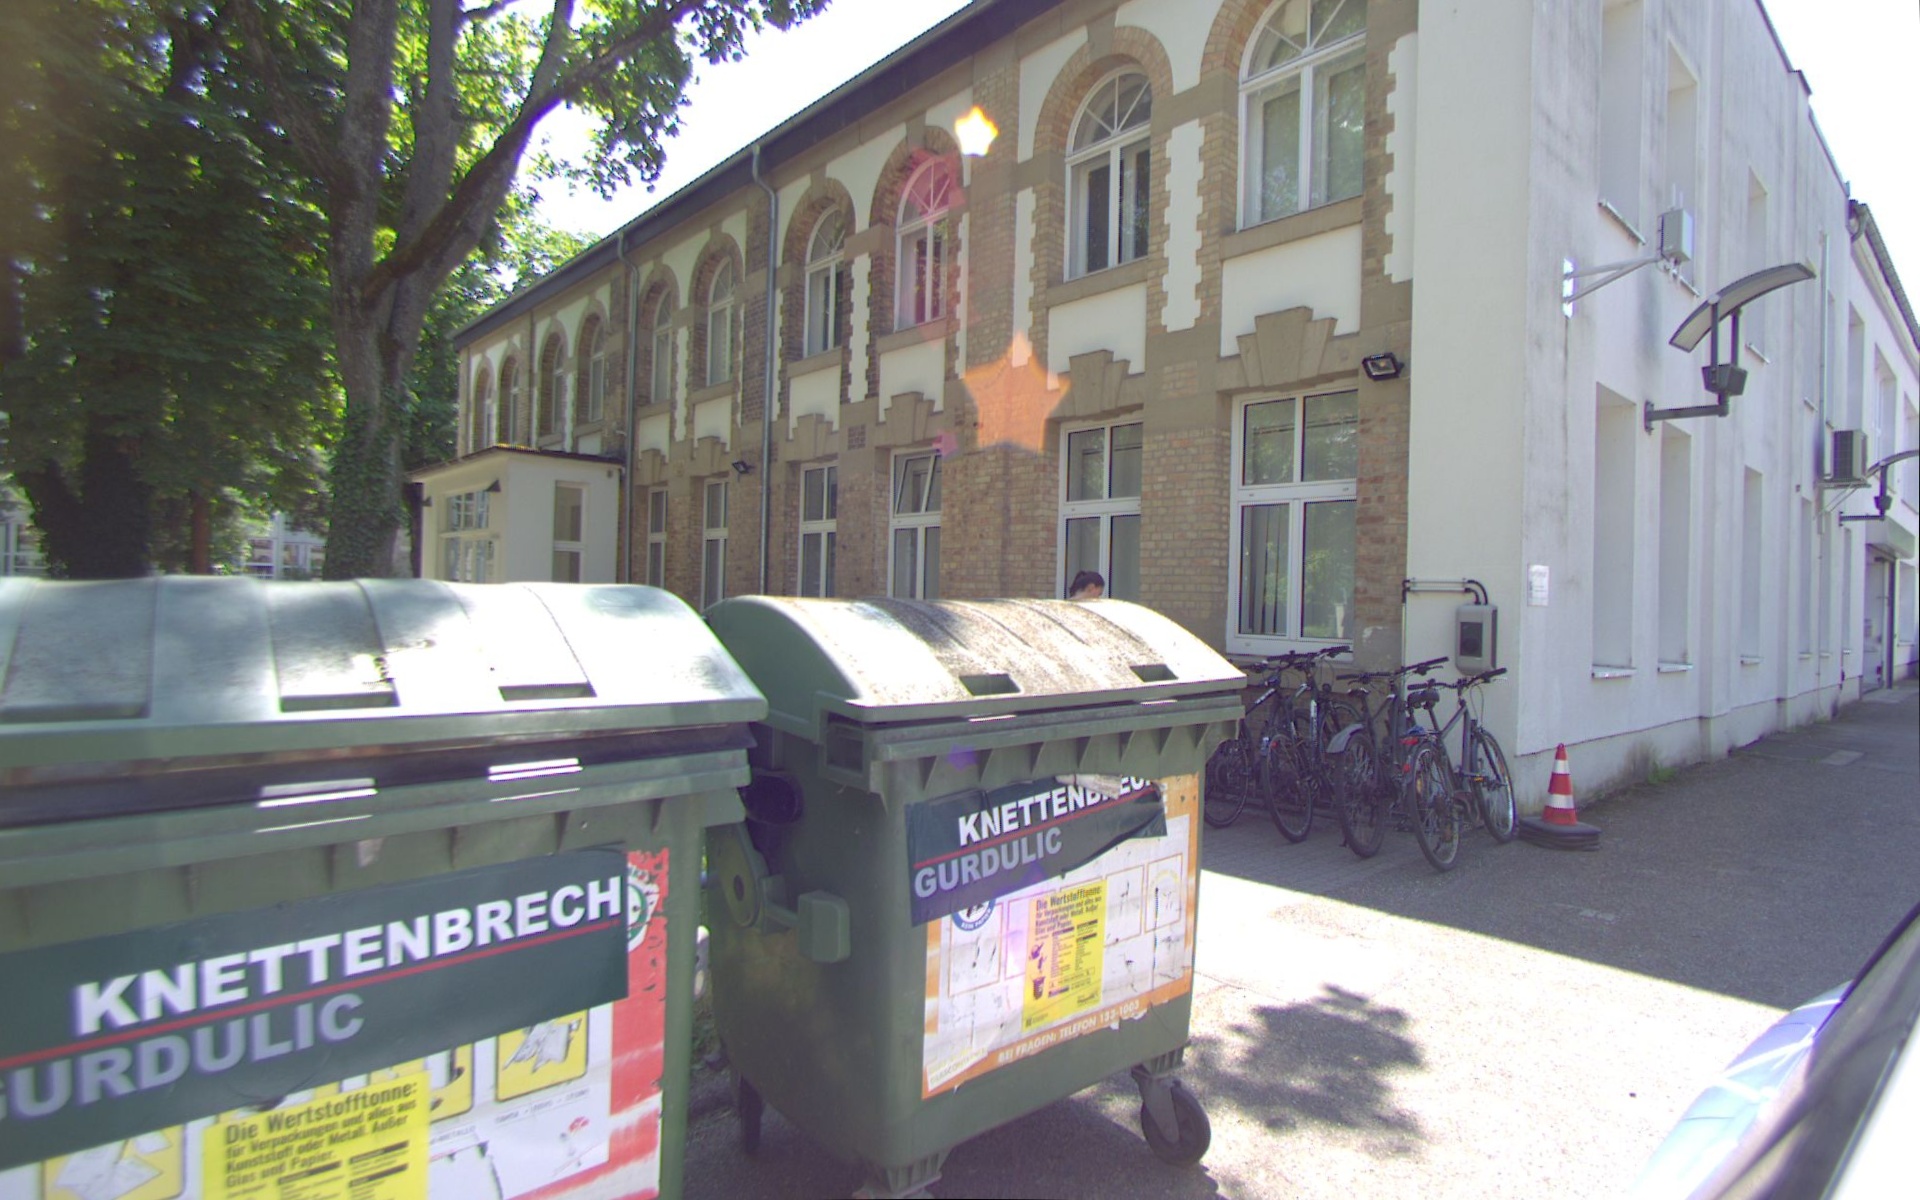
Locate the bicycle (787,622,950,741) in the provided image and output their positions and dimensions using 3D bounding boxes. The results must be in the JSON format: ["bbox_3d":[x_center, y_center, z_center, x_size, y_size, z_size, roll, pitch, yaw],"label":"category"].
[{"bbox_3d":[-0.921,0.807,10.549,1.795,1.115,0.405,0,0,-42],"label":"bicycle"}]

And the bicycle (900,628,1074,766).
[{"bbox_3d":[0.287,0.840,9.267,1.795,1.115,0.405,0,0,-42],"label":"bicycle"}]

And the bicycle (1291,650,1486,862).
[{"bbox_3d":[2.756,0.910,6.413,1.795,1.115,0.405,0,0,-42],"label":"bicycle"}]

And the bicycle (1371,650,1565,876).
[{"bbox_3d":[3.102,0.895,6.092,1.795,1.115,0.405,0,0,-42],"label":"bicycle"}]

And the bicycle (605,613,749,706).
[{"bbox_3d":[-3.644,0.736,13.146,1.795,1.115,0.405,0,0,-42],"label":"bicycle"}]

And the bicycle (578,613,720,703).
[{"bbox_3d":[-4.135,0.747,13.555,1.795,1.115,0.405,0,0,-42],"label":"bicycle"}]

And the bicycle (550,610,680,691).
[{"bbox_3d":[-5.073,0.717,14.967,1.795,1.115,0.405,0,0,-42],"label":"bicycle"}]

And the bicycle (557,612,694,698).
[{"bbox_3d":[-4.639,0.733,14.128,1.795,1.115,0.405,0,0,-42],"label":"bicycle"}]

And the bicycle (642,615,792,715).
[{"bbox_3d":[-2.938,0.755,12.357,1.795,1.115,0.405,0,0,-42],"label":"bicycle"}]

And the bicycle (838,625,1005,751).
[{"bbox_3d":[-0.347,0.821,10.023,1.795,1.115,0.405,0,0,-42],"label":"bicycle"}]

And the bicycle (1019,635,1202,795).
[{"bbox_3d":[1.256,0.867,8.166,1.795,1.115,0.405,0,0,-42],"label":"bicycle"}]

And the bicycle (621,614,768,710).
[{"bbox_3d":[-3.308,0.745,12.746,1.795,1.115,0.405,0,0,-42],"label":"bicycle"}]

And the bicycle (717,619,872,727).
[{"bbox_3d":[-1.839,0.782,11.451,1.795,1.115,0.405,0,0,-42],"label":"bicycle"}]

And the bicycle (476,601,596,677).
[{"bbox_3d":[-7.055,0.622,16.912,1.795,1.115,0.405,-3,3,-42],"label":"bicycle"}]

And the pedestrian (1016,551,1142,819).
[{"bbox_3d":[0.837,0.556,7.108,0.677,1.771,0.552,1,0,-40],"label":"pedestrian"}]

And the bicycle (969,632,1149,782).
[{"bbox_3d":[0.880,0.856,8.599,1.795,1.115,0.405,0,0,-42],"label":"bicycle"}]

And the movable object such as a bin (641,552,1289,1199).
[{"bbox_3d":[0.024,0.644,2.709,1.353,1.476,1.077,1,0,-41],"label":"movable object such as a bin"}]

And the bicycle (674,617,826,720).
[{"bbox_3d":[-2.442,0.768,11.935,1.795,1.115,0.405,0,0,-42],"label":"bicycle"}]

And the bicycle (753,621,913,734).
[{"bbox_3d":[-1.342,0.796,10.941,1.795,1.115,0.405,0,0,-42],"label":"bicycle"}]

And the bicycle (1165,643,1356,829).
[{"bbox_3d":[2.171,0.892,7.171,1.795,1.115,0.405,0,0,-42],"label":"bicycle"}]

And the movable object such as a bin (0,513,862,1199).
[{"bbox_3d":[-1.043,0.638,1.774,1.353,1.476,1.077,1,0,-41],"label":"movable object such as a bin"}]

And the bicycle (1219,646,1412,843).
[{"bbox_3d":[2.441,0.900,6.824,1.795,1.115,0.405,0,0,-42],"label":"bicycle"}]

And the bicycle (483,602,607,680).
[{"bbox_3d":[-6.646,0.635,16.283,1.795,1.115,0.405,-3,3,-42],"label":"bicycle"}]

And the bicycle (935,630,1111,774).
[{"bbox_3d":[0.597,0.848,8.939,1.795,1.115,0.405,0,0,-42],"label":"bicycle"}]

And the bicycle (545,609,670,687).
[{"bbox_3d":[-5.387,0.706,15.540,1.795,1.115,0.405,0,0,-42],"label":"bicycle"}]

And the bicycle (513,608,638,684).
[{"bbox_3d":[-5.976,0.694,15.808,1.795,1.115,0.405,0,0,-42],"label":"bicycle"}]

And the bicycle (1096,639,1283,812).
[{"bbox_3d":[1.776,0.881,7.638,1.795,1.115,0.405,0,0,-42],"label":"bicycle"}]
